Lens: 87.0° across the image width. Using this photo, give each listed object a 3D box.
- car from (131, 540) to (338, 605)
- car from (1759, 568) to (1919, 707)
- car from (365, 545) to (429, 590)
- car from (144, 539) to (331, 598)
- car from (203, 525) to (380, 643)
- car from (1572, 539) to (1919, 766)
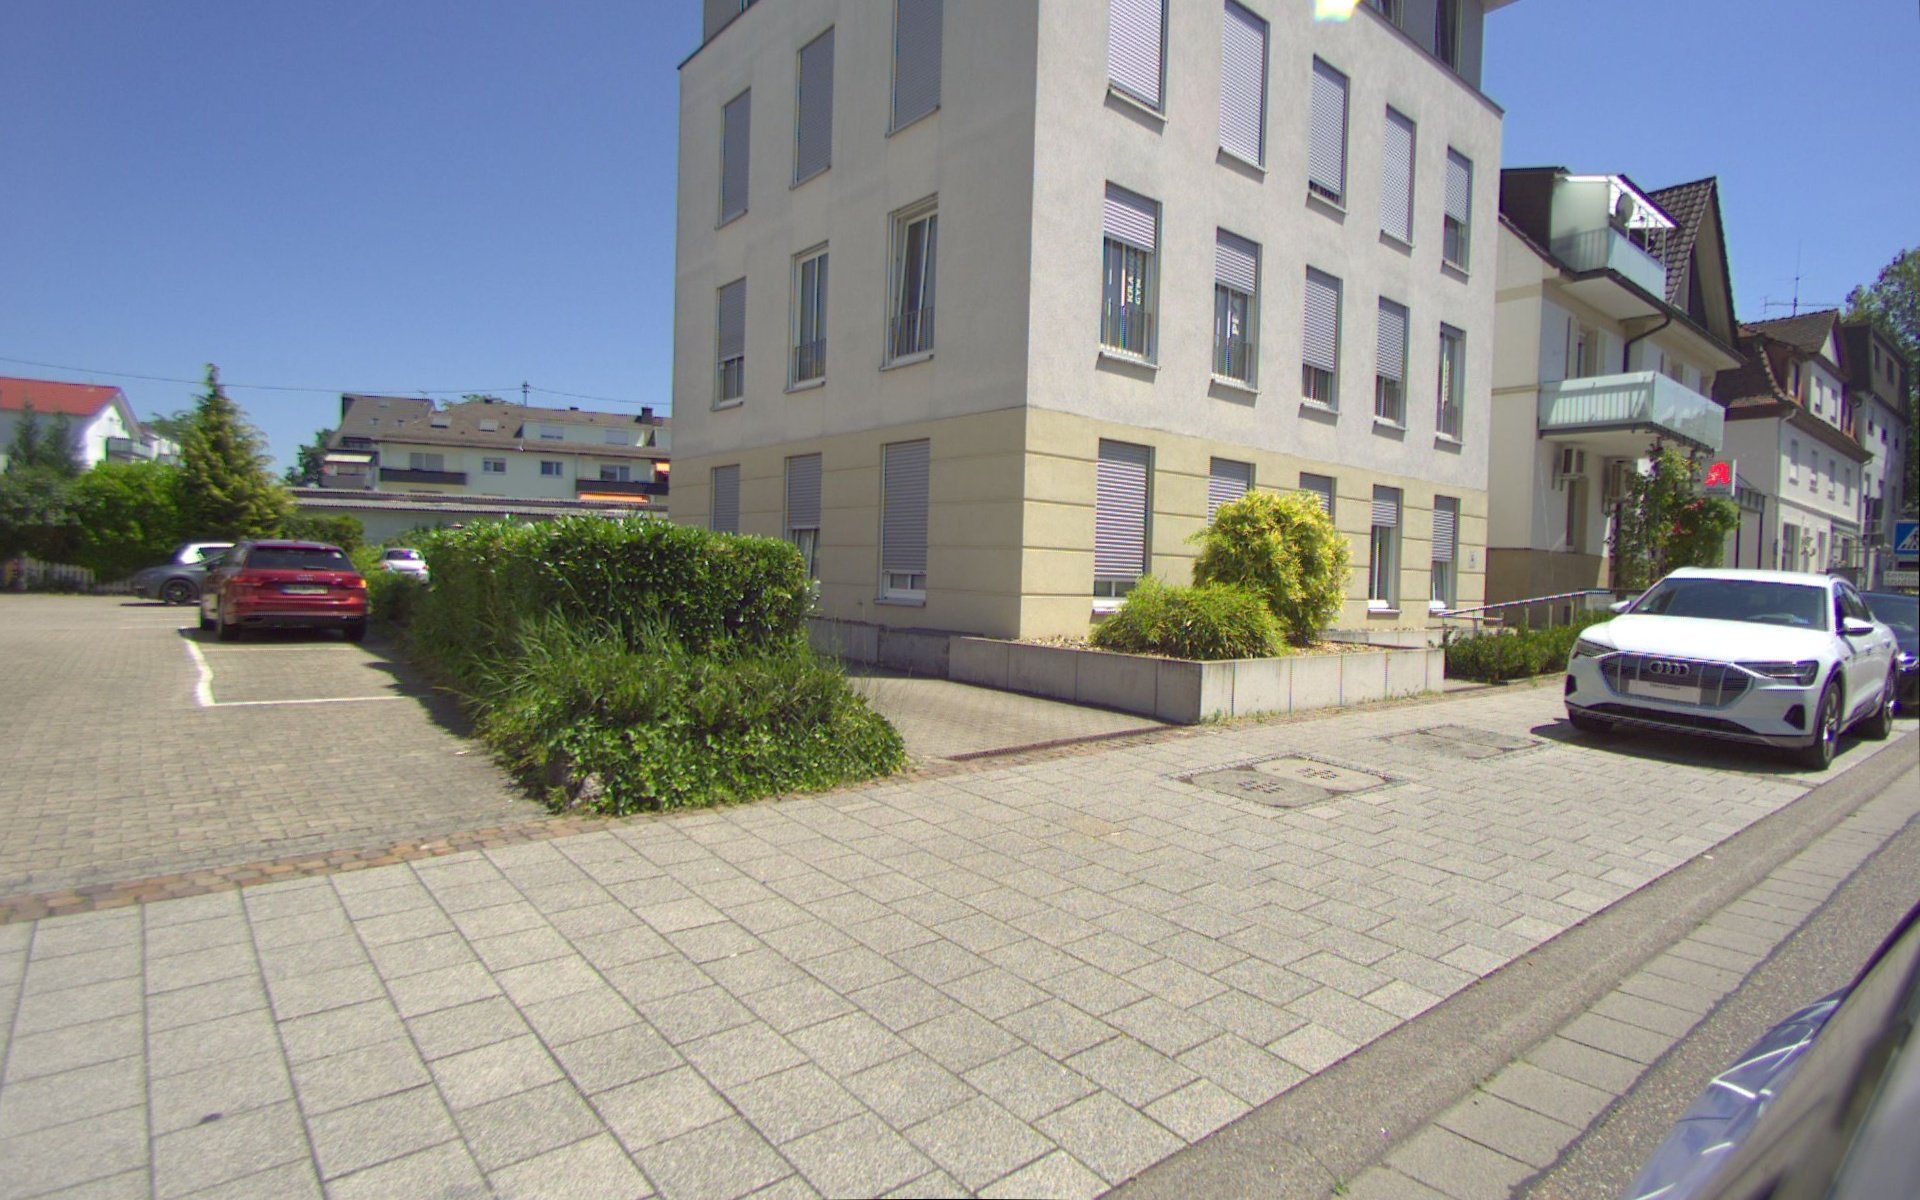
[{"bbox_3d":[-17.372,-0.645,24.322,3.929,1.437,1.805,0,2,-40],"label":"car"},{"bbox_3d":[12.620,0.426,13.818,4.663,1.575,1.709,0,3,-40],"label":"car"},{"bbox_3d":[-20.992,-1.241,37.698,1.625,1.594,3.863,0,2,-36],"label":"car"},{"bbox_3d":[-19.074,-0.816,26.782,3.929,1.437,1.805,0,2,-40],"label":"car"},{"bbox_3d":[-10.279,-0.258,15.427,1.838,1.535,4.191,0,1,-39],"label":"car"},{"bbox_3d":[7.800,0.357,9.833,4.498,1.686,1.710,0,4,-40],"label":"car"}]
